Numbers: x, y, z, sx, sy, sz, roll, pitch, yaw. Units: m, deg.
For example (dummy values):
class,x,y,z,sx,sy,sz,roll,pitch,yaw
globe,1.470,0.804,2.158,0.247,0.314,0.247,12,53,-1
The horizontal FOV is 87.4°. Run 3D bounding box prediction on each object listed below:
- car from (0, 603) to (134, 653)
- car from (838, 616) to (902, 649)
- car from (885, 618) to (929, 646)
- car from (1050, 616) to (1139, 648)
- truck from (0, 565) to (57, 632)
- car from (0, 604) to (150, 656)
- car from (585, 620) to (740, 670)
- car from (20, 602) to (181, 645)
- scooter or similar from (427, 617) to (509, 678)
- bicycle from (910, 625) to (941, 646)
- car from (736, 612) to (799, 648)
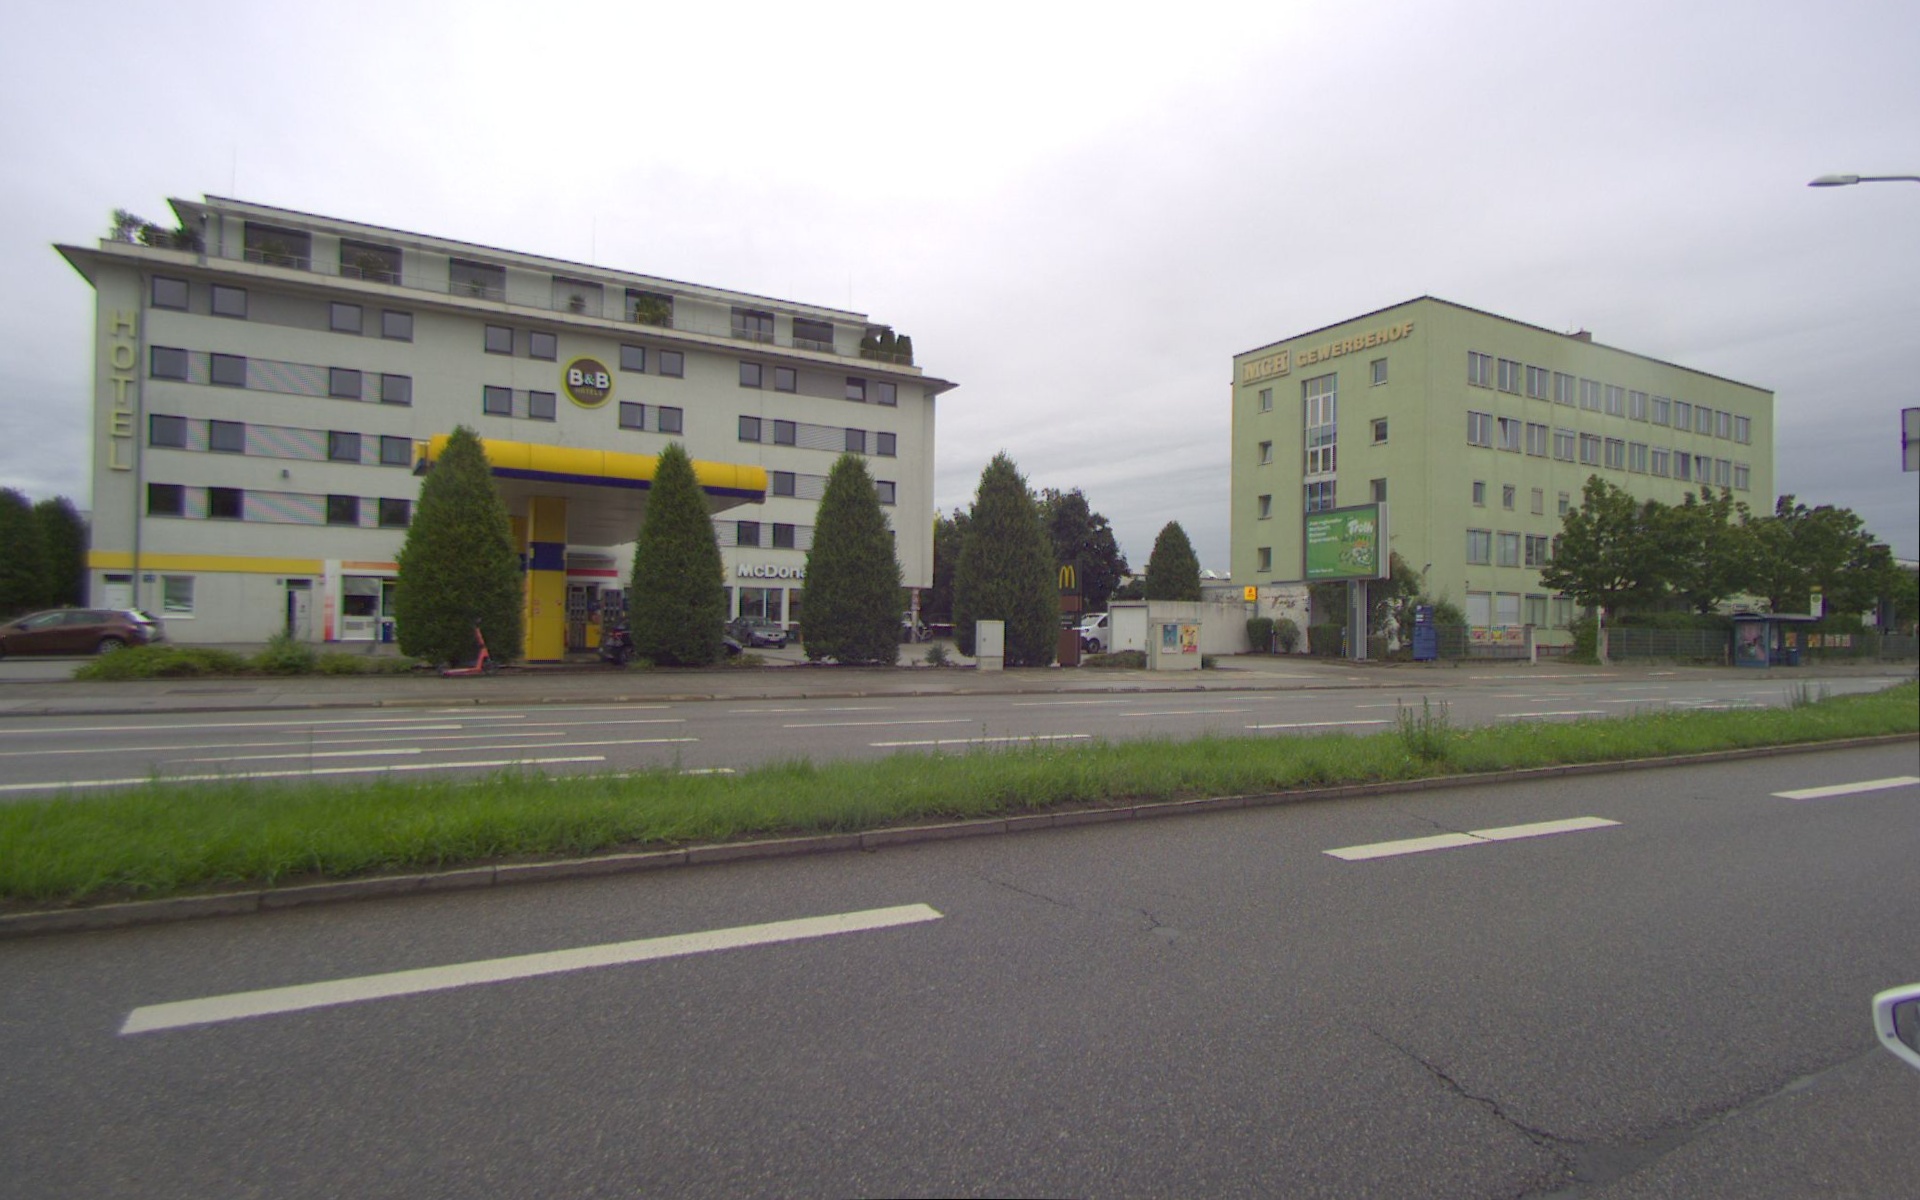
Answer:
class,x,y,z,sx,sy,sz,roll,pitch,yaw
car,-28.338,0.889,31.142,3.928,1.505,1.617,1,-3,-28
car,-4.599,1.619,50.619,1.687,1.608,3.968,1,-2,-30
car,-3.823,2.311,71.580,1.700,1.968,3.974,1,-3,-26
car,6.388,1.534,47.629,3.952,1.457,1.817,2,-3,-30
truck,-57.465,-0.089,59.329,2.841,3.882,11.858,1,-1,-26
car,-26.067,0.879,28.841,4.327,1.402,1.685,2,-3,-40
car,-8.520,1.299,28.818,3.954,1.349,1.786,2,-3,-31
car,-31.373,0.887,36.826,4.144,1.497,1.894,2,-3,-30
scooter or similar,-10.406,1.003,21.283,1.524,1.259,0.354,1,1,-25
bicycle,-1.972,2.033,57.368,1.859,1.131,0.444,2,-3,-39
car,-9.206,1.426,47.847,1.687,1.608,3.968,1,-2,-30
